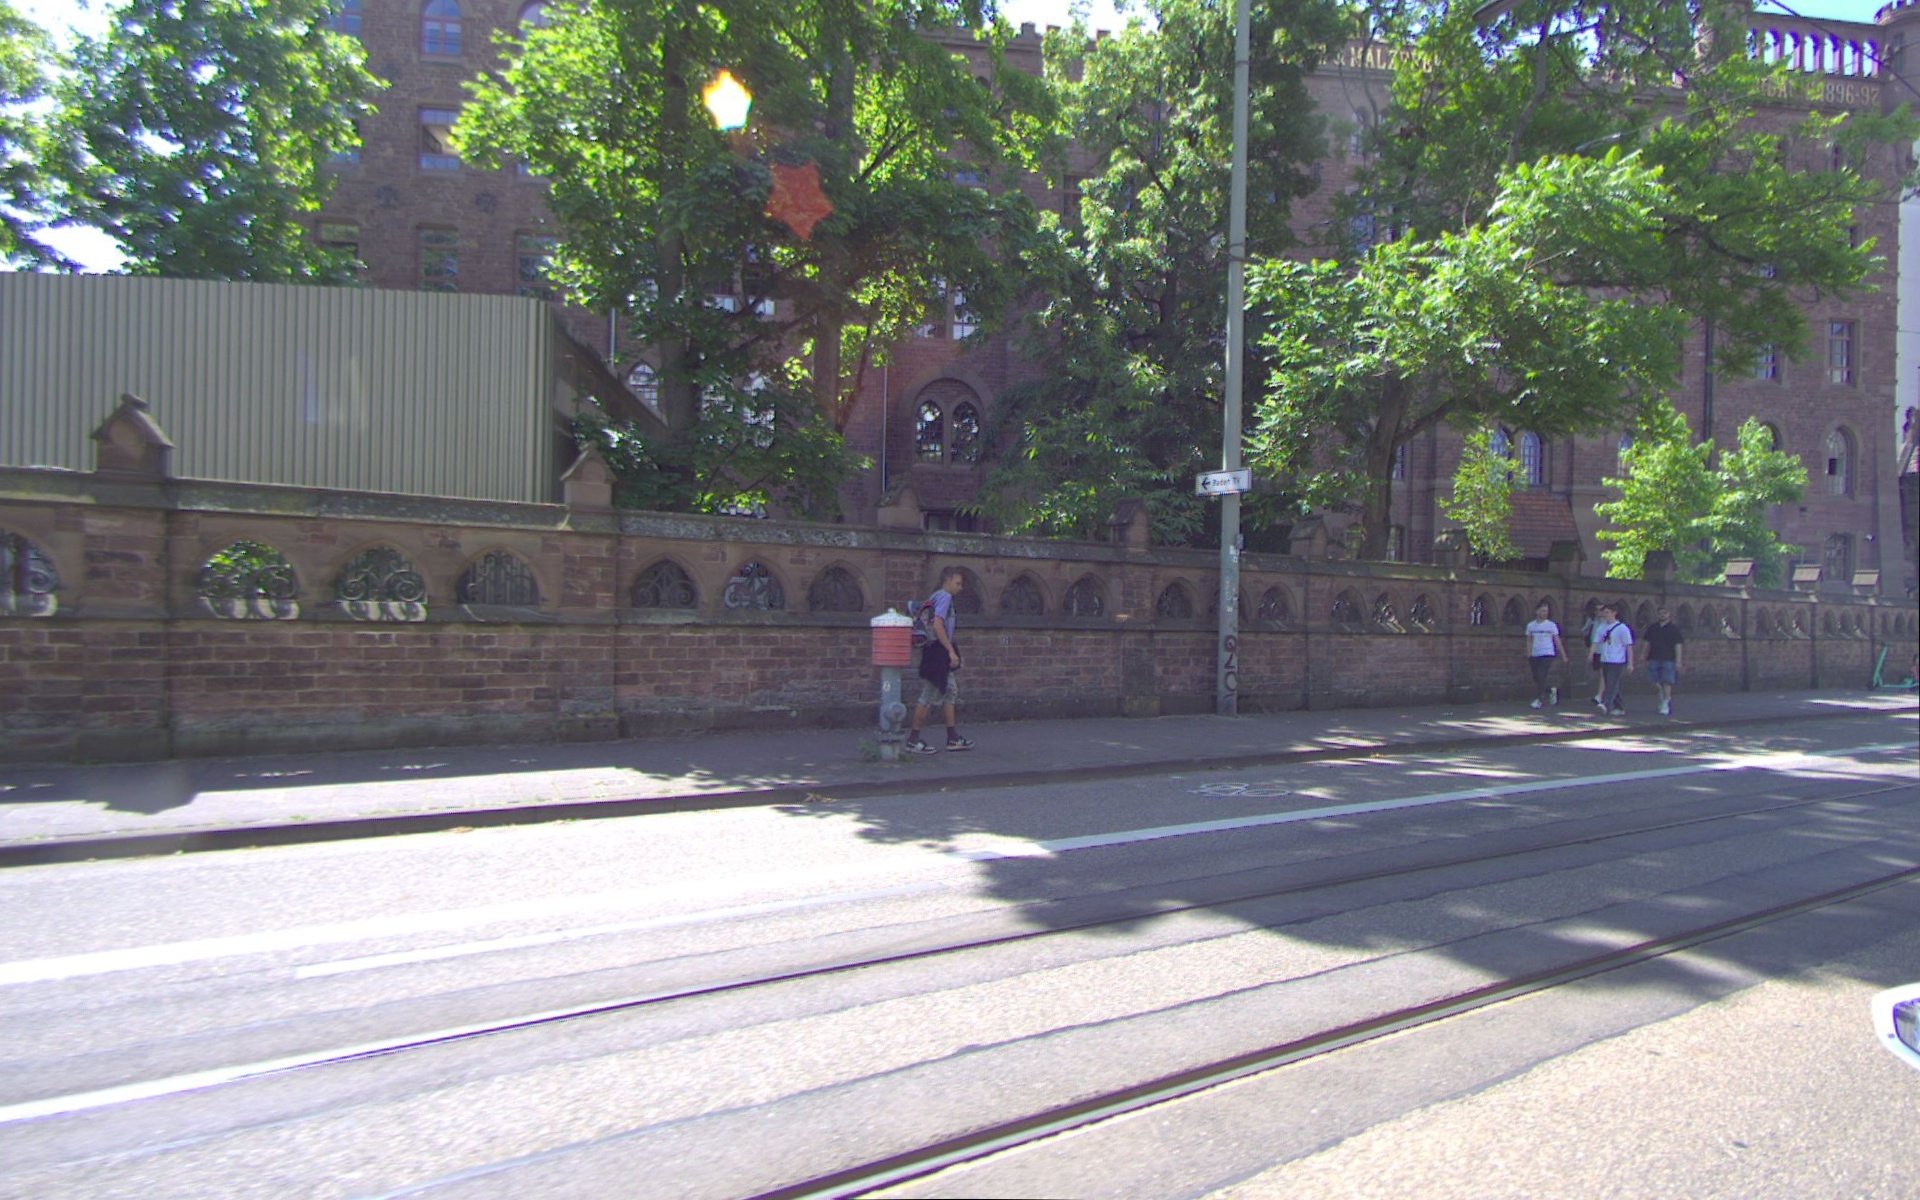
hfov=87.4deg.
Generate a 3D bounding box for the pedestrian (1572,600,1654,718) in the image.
[{"bbox_3d":[10.497,0.928,16.150,0.908,1.814,0.674,1,2,-30],"label":"pedestrian"}]

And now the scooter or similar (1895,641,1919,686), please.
[{"bbox_3d":[25.244,1.666,26.300,1.199,1.142,0.329,2,1,-1],"label":"scooter or similar"}]

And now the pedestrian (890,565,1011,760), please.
[{"bbox_3d":[-0.104,0.588,9.962,0.908,1.816,0.718,1,2,-30],"label":"pedestrian"}]

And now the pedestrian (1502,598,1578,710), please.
[{"bbox_3d":[9.770,0.892,16.925,0.908,1.800,0.674,1,2,-30],"label":"pedestrian"}]

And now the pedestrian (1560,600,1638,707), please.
[{"bbox_3d":[11.319,0.929,17.811,0.908,1.800,0.749,1,2,-30],"label":"pedestrian"}]

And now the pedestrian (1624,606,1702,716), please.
[{"bbox_3d":[11.887,1.007,16.986,0.908,1.772,0.674,1,2,-30],"label":"pedestrian"}]

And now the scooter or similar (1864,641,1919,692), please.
[{"bbox_3d":[22.554,1.591,24.111,1.200,1.142,0.349,3,1,14],"label":"scooter or similar"}]
